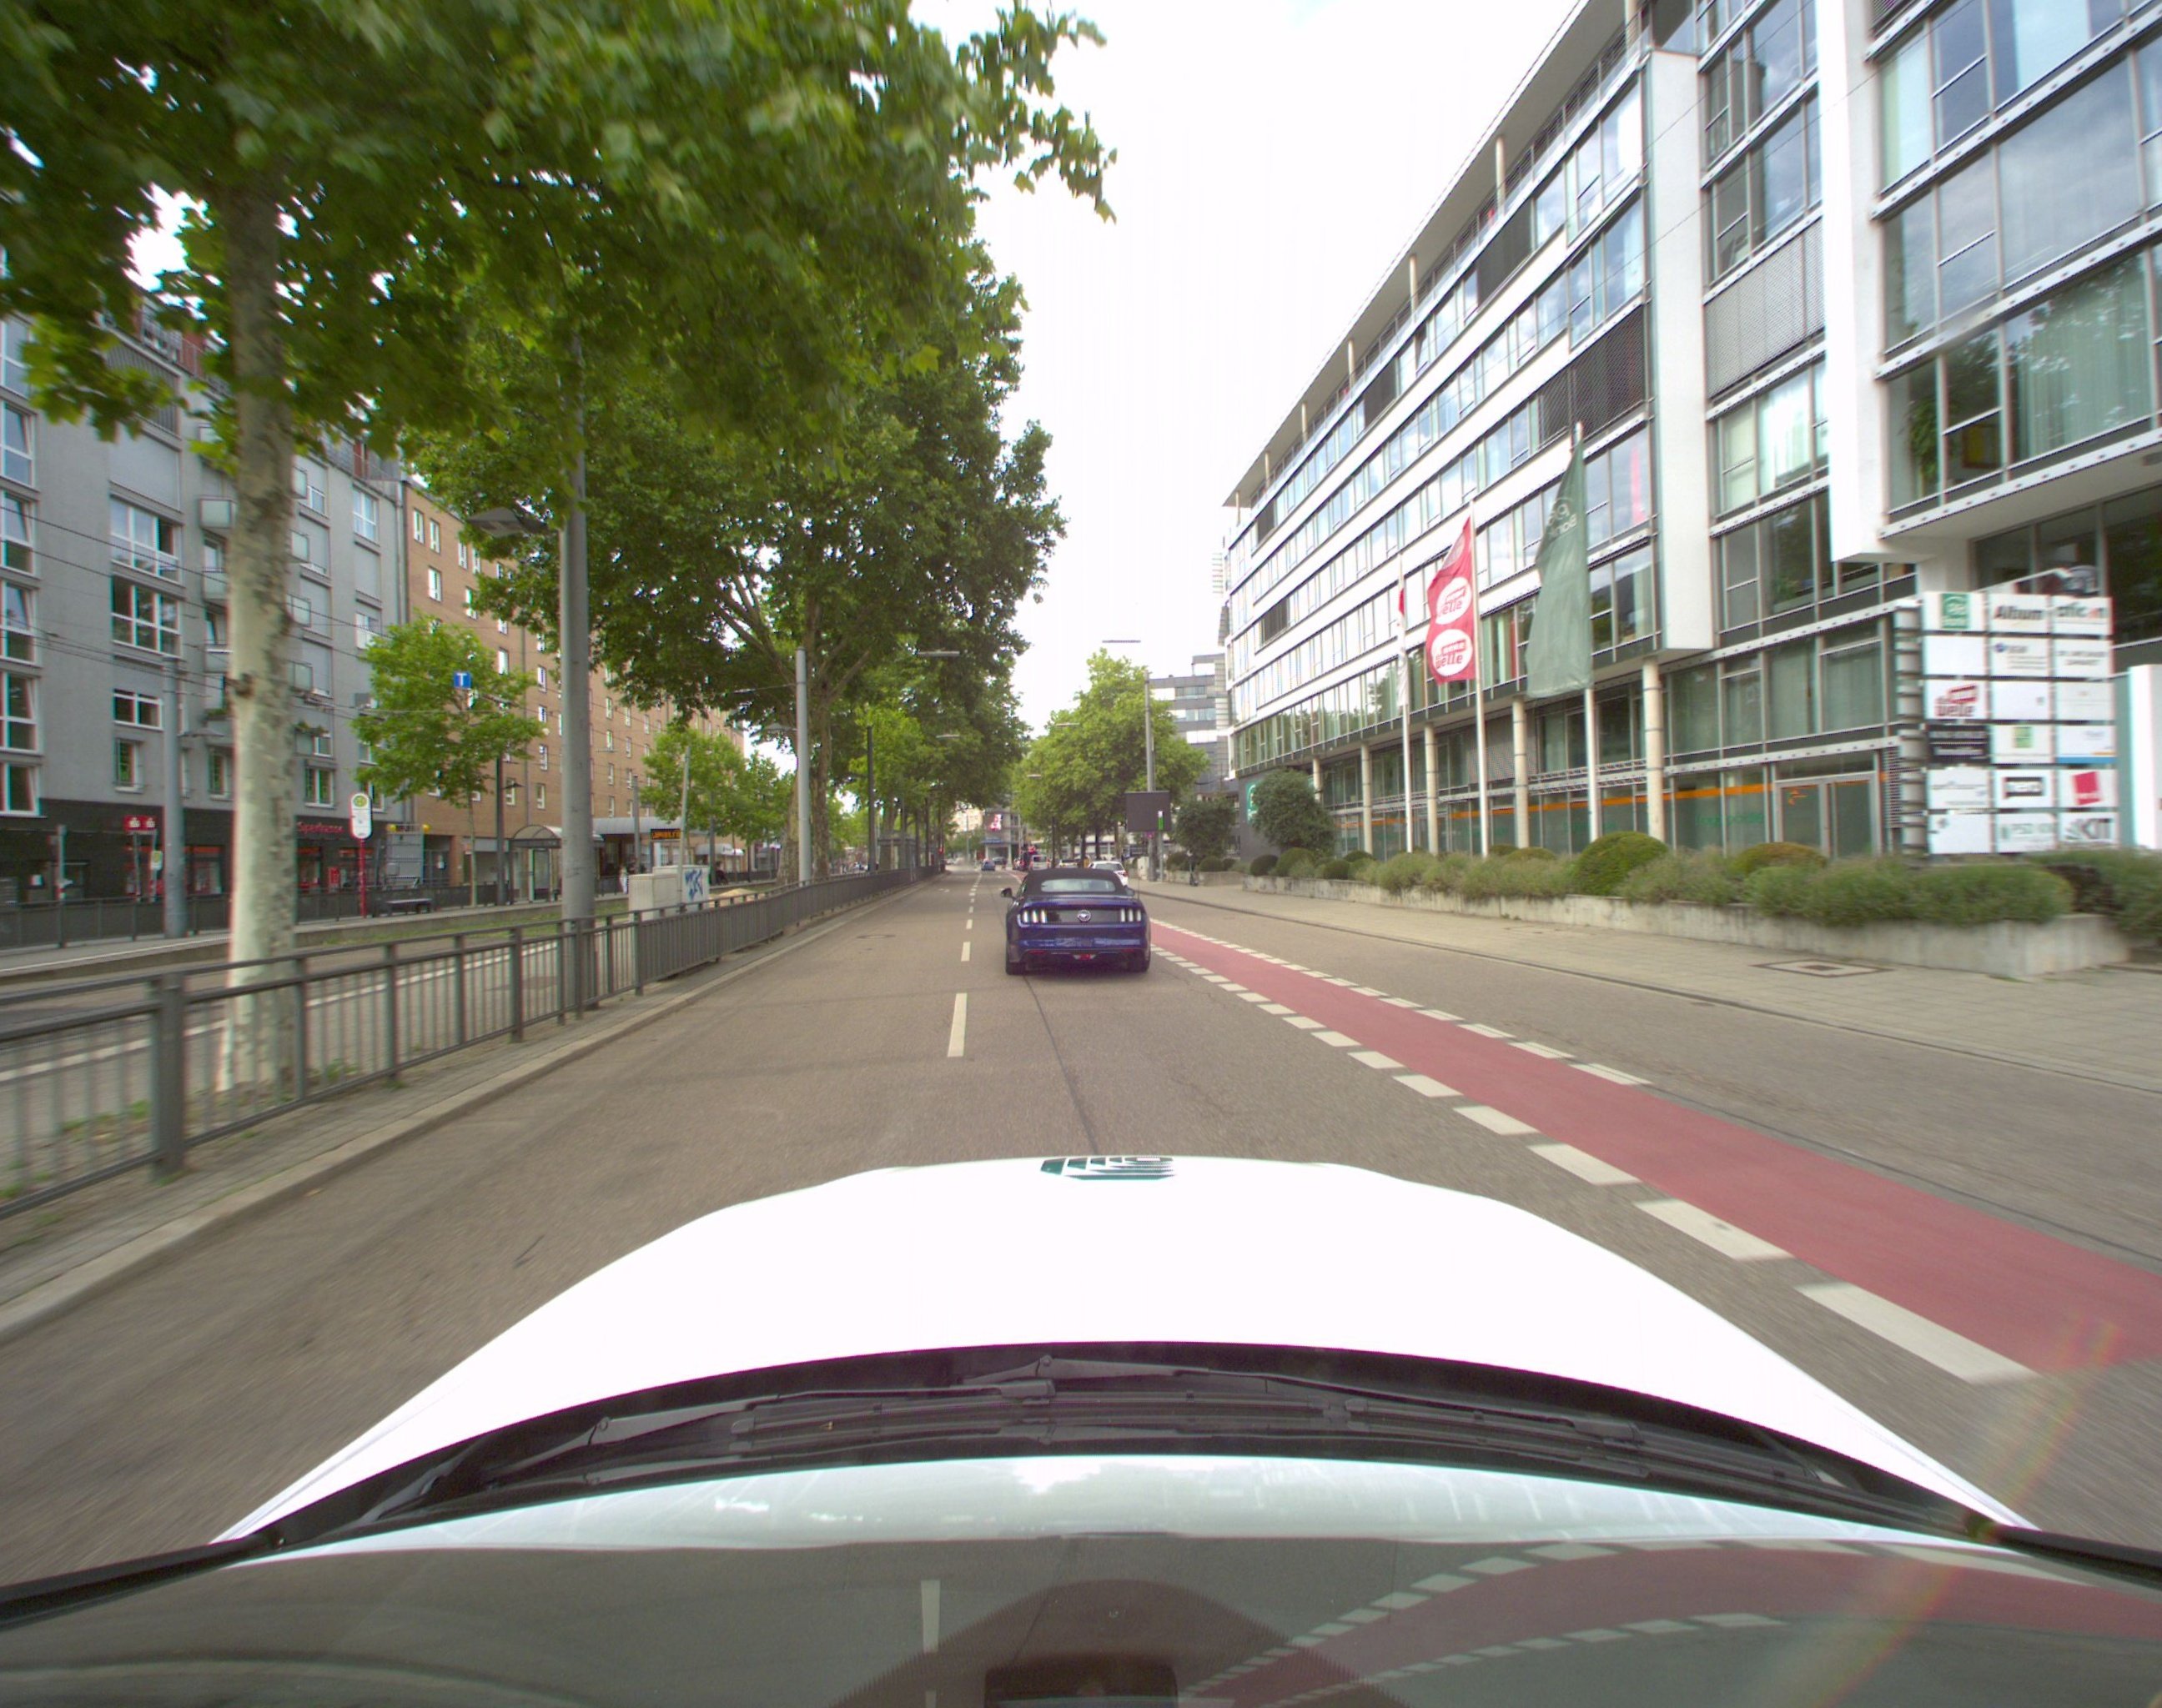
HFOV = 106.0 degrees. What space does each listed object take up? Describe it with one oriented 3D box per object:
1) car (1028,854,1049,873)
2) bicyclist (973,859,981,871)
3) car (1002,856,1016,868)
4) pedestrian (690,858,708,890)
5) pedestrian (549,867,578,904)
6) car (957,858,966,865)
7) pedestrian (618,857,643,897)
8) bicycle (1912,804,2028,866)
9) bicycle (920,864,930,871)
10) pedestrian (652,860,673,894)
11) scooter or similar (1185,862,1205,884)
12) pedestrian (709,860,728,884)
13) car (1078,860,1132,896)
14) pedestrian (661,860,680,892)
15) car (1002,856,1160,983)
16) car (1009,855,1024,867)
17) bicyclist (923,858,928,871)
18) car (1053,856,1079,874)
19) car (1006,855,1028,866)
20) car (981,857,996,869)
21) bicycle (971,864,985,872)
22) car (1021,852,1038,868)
[{"bbox_3d":[-4.521,0.993,85.674,1.888,1.903,4.120,-2,0,-6],"label":"car"},{"bbox_3d":[-15.094,1.575,118.380,1.006,1.660,0.646,-2,0,-8],"label":"bicyclist"},{"bbox_3d":[-10.096,1.100,113.736,1.833,1.521,4.166,-2,0,-6],"label":"car"},{"bbox_3d":[-24.314,1.256,51.860,0.815,1.993,0.782,-2,0,-11],"label":"pedestrian"},{"bbox_3d":[-22.648,1.371,35.664,0.815,1.536,0.782,-2,0,-11],"label":"pedestrian"},{"bbox_3d":[-27.981,1.774,190.387,1.833,1.521,4.166,-2,0,-6],"label":"car"},{"bbox_3d":[-21.810,1.091,39.458,0.815,1.887,0.782,-2,0,-11],"label":"pedestrian"},{"bbox_3d":[17.654,-0.385,16.175,2.109,1.177,0.584,-1,1,-12],"label":"bicycle"},{"bbox_3d":[-22.346,1.973,116.479,1.405,0.931,0.511,-2,0,-8],"label":"bicycle"},{"bbox_3d":[-23.625,1.285,46.004,0.815,1.887,0.782,-2,0,-11],"label":"pedestrian"},{"bbox_3d":[5.278,0.877,37.859,0.586,0.950,1.858,-2,0,-2],"label":"scooter or similar"},{"bbox_3d":[-25.354,1.267,57.028,0.995,1.600,0.848,-2,0,-11],"label":"pedestrian"},{"bbox_3d":[1.009,1.026,36.617,1.833,1.439,4.178,-2,0,-6],"label":"car"},{"bbox_3d":[-24.413,1.297,48.442,0.815,1.887,0.782,-2,0,-11],"label":"pedestrian"},{"bbox_3d":[-0.150,0.796,11.971,1.873,1.404,4.275,-2,1,-5],"label":"car"},{"bbox_3d":[-8.550,0.951,107.465,1.833,1.521,4.166,-2,0,-6],"label":"car"},{"bbox_3d":[-22.243,1.512,116.498,0.670,1.731,0.511,-2,0,-8],"label":"bicyclist"},{"bbox_3d":[-1.427,0.997,76.211,1.879,1.582,4.313,-1,0,-8],"label":"car"},{"bbox_3d":[-12.346,1.313,157.169,3.978,2.013,1.998,-2,0,-3],"label":"car"},{"bbox_3d":[-12.165,1.156,107.314,1.833,1.547,4.205,-2,0,-6],"label":"car"},{"bbox_3d":[-15.012,2.053,118.385,2.016,1.086,0.667,-2,0,-8],"label":"bicycle"},{"bbox_3d":[-6.193,0.732,98.202,1.833,1.903,4.166,-2,0,-6],"label":"car"}]
